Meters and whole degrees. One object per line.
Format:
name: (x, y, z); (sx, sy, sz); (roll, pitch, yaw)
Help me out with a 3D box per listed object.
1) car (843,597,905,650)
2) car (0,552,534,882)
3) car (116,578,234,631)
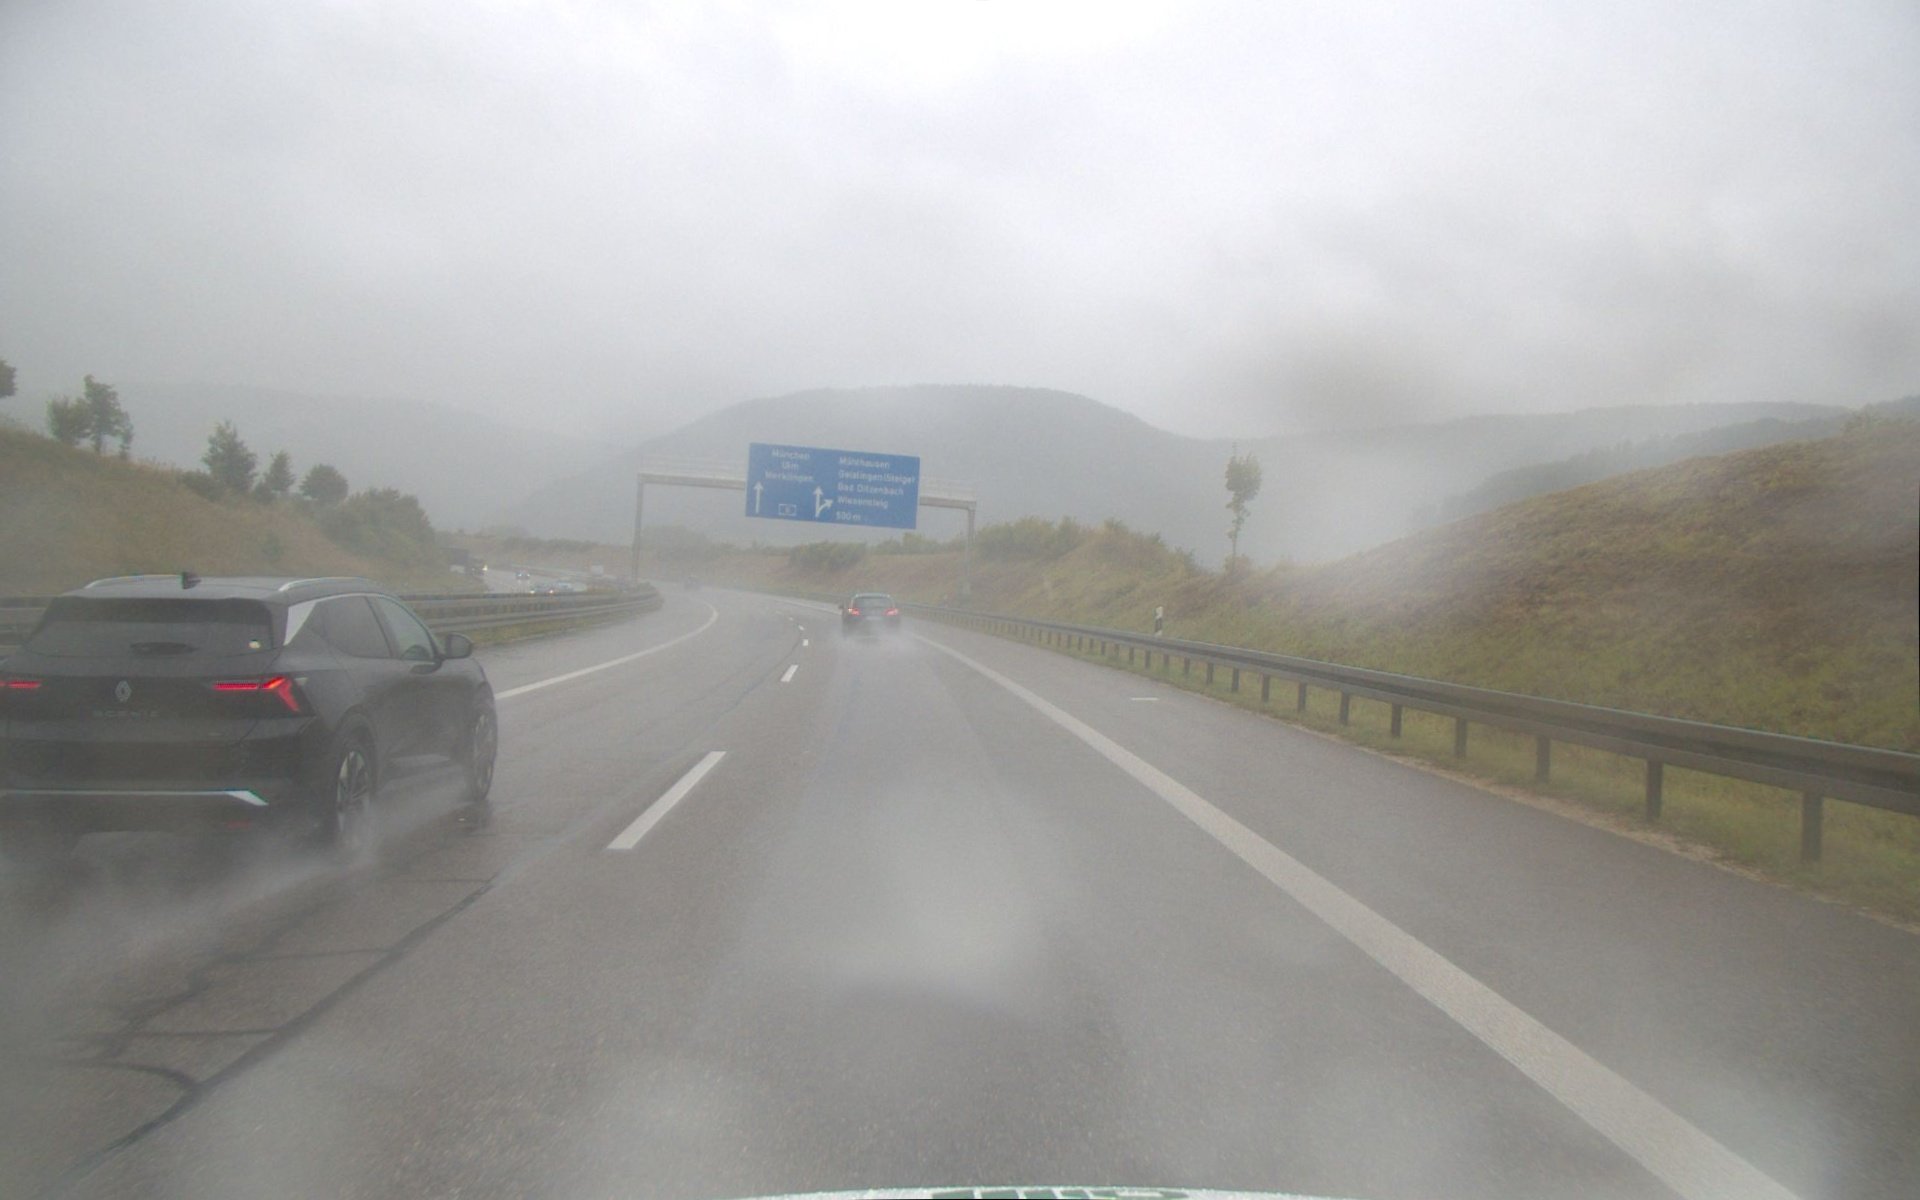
car: (-2.711, 0.702, 51.542); (1.647, 1.498, 3.809); (2, 0, -6)
car: (-4.207, 0.560, 10.318); (2.361, 1.542, 4.776); (2, 0, -7)
car: (-22.676, 0.110, 47.936); (1.758, 1.445, 3.773); (1, 0, -3)
